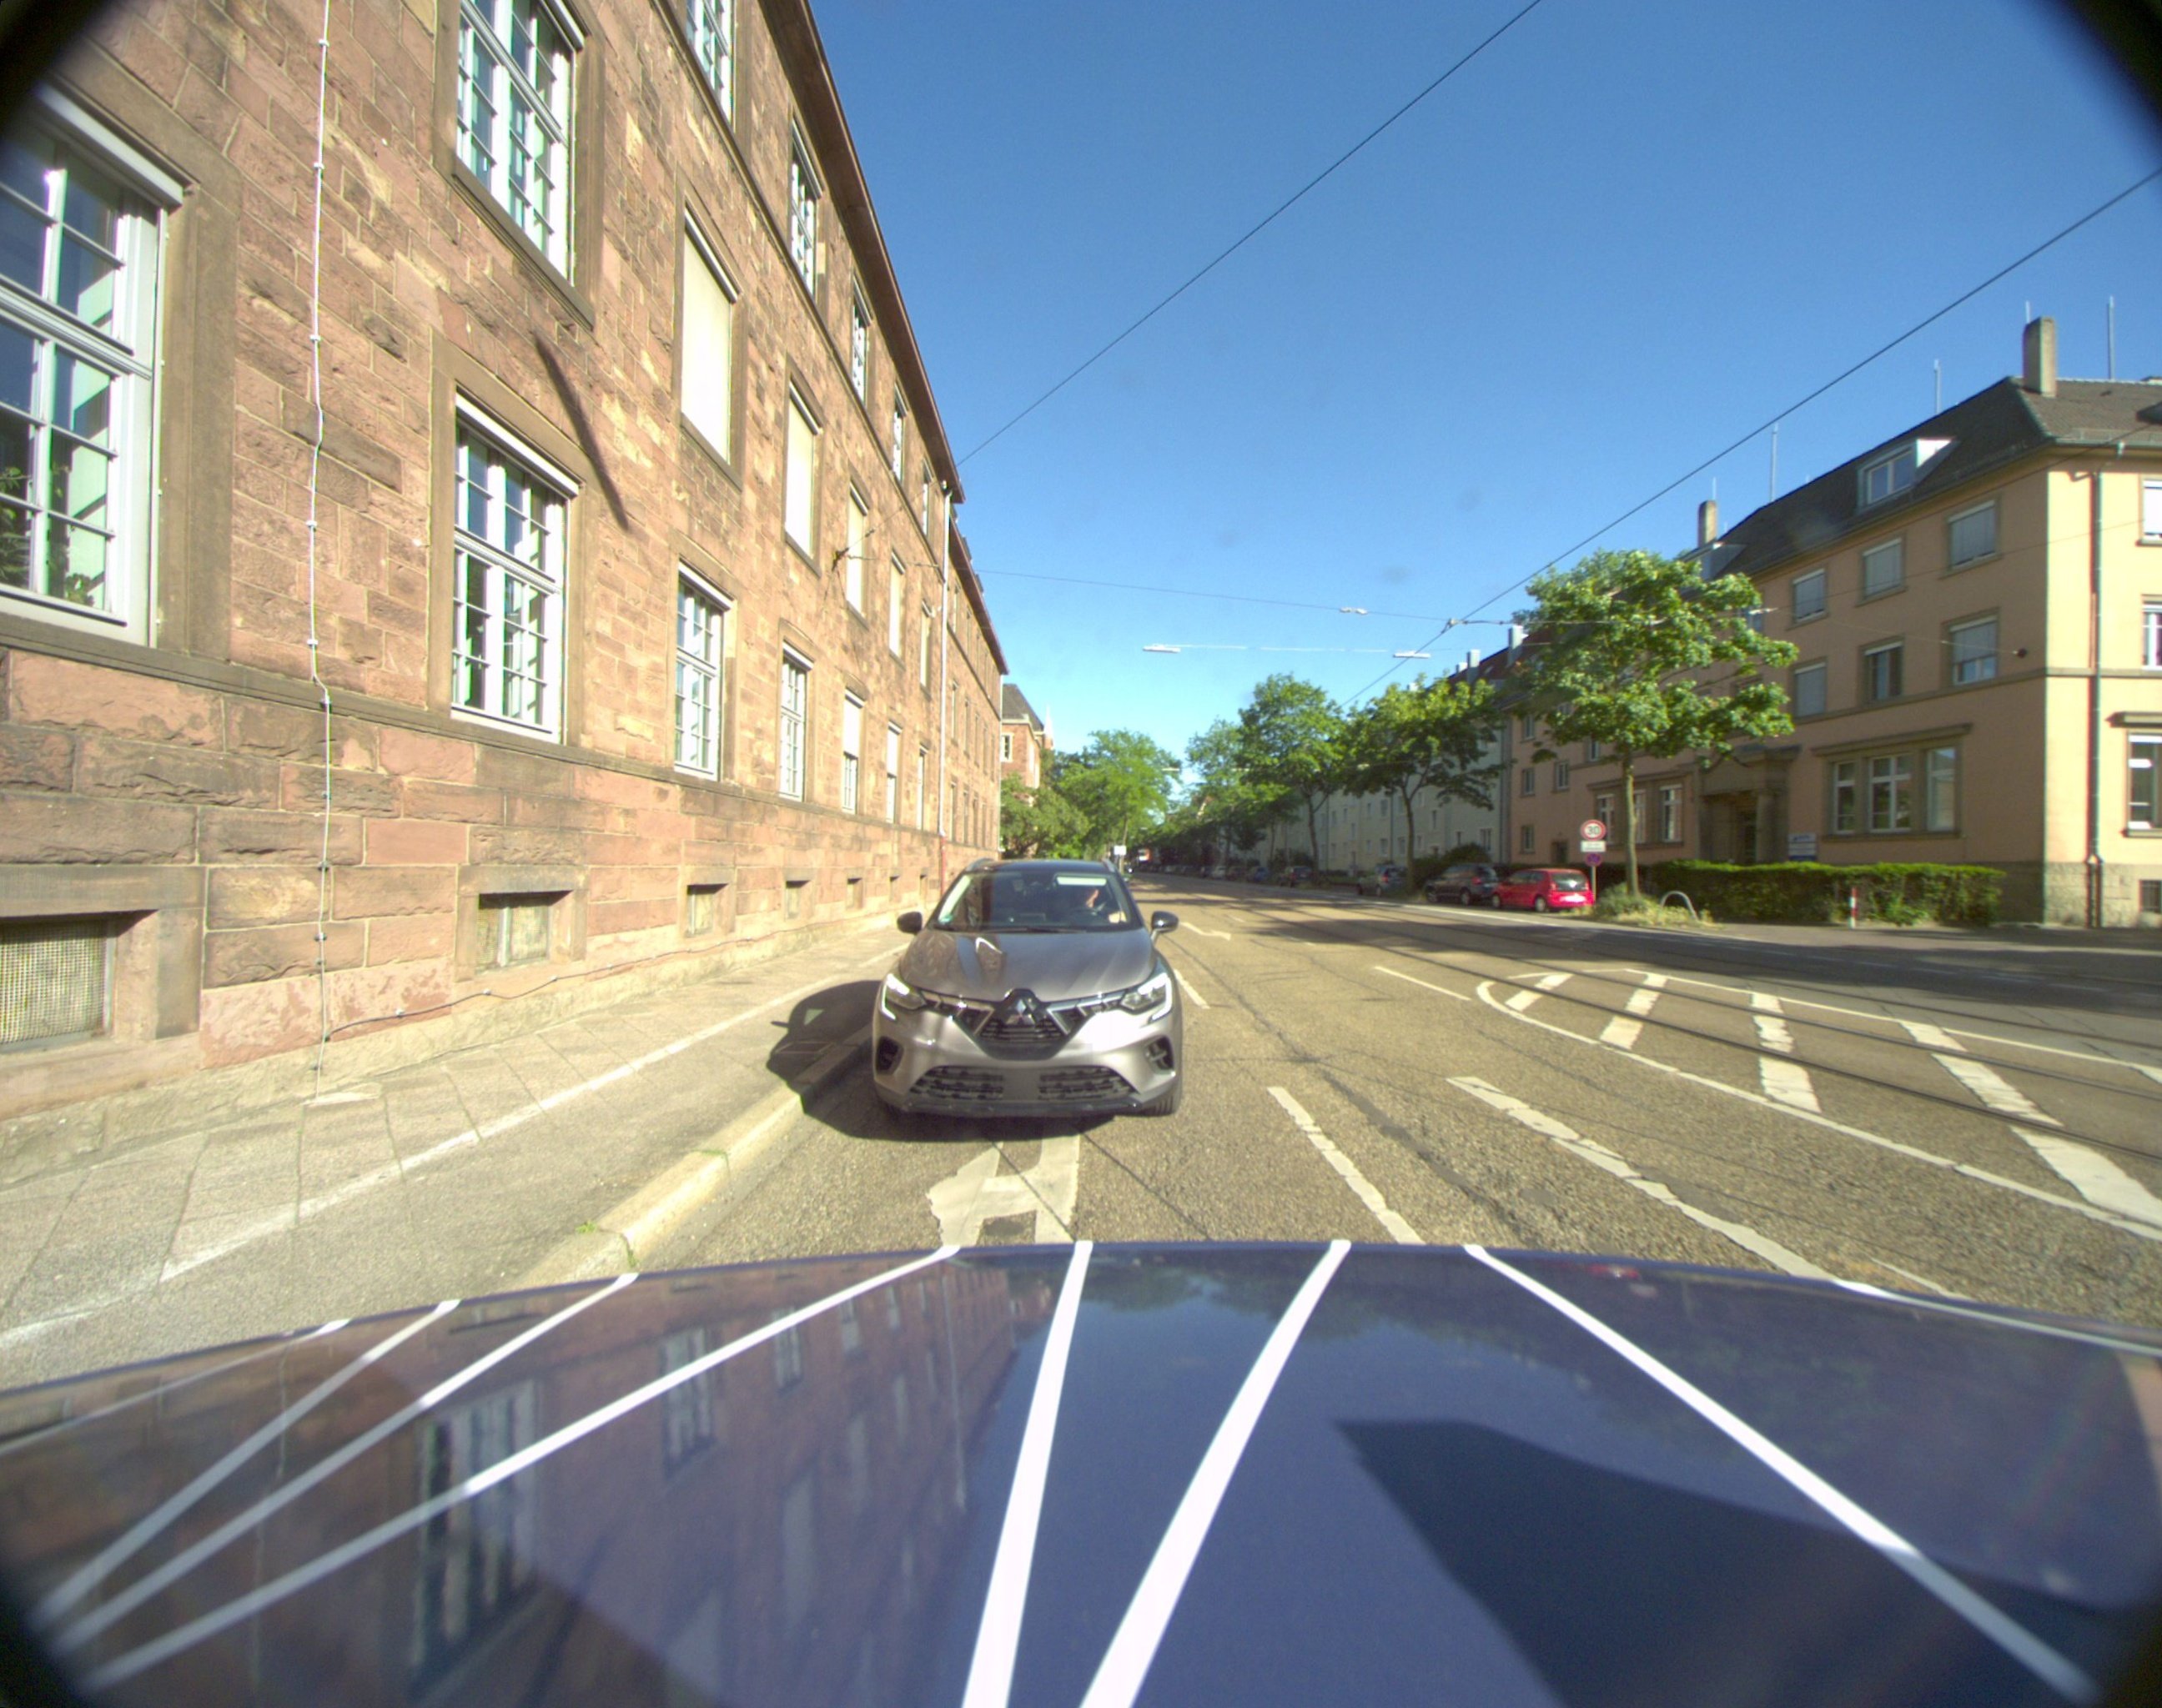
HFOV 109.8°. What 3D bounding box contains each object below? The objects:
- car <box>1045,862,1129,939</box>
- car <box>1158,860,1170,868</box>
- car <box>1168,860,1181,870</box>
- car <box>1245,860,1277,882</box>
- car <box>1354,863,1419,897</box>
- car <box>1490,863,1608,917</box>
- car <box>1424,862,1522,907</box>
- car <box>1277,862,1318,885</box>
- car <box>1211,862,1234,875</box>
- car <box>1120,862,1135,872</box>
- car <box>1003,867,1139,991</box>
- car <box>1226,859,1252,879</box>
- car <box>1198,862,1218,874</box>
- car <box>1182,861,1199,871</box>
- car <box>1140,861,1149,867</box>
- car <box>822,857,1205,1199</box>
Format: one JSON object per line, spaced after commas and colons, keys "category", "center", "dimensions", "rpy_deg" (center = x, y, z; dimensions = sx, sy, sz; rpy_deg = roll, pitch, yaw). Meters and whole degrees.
{"category": "car", "center": [0.072, 1.018, 18.492], "dimensions": [1.796, 1.638, 4.083], "rpy_deg": [-1, 0, -2]}
{"category": "car", "center": [15.971, 1.854, 146.878], "dimensions": [1.816, 1.514, 3.630], "rpy_deg": [1, 0, -2]}
{"category": "car", "center": [16.583, 1.944, 135.241], "dimensions": [1.816, 1.768, 3.630], "rpy_deg": [1, 0, -2]}
{"category": "car", "center": [15.969, 1.475, 67.496], "dimensions": [1.816, 1.814, 3.795], "rpy_deg": [1, 0, -2]}
{"category": "car", "center": [15.730, 1.303, 39.359], "dimensions": [1.816, 1.648, 3.877], "rpy_deg": [1, 0, 1]}
{"category": "car", "center": [15.853, 1.168, 25.941], "dimensions": [1.816, 1.696, 3.374], "rpy_deg": [1, 0, -3]}
{"category": "car", "center": [15.643, 1.172, 30.549], "dimensions": [1.816, 1.648, 3.819], "rpy_deg": [1, 0, -3]}
{"category": "car", "center": [15.788, 1.430, 55.603], "dimensions": [1.816, 1.589, 3.630], "rpy_deg": [1, 0, -2]}
{"category": "car", "center": [16.026, 1.670, 85.932], "dimensions": [1.816, 1.411, 3.630], "rpy_deg": [1, 0, -2]}
{"category": "car", "center": [7.255, 1.986, 118.355], "dimensions": [1.912, 1.510, 4.000], "rpy_deg": [1, 0, -1]}
{"category": "car", "center": [-0.180, 1.036, 12.045], "dimensions": [1.796, 1.595, 3.799], "rpy_deg": [-1, 0, -2]}
{"category": "car", "center": [15.898, 1.532, 76.574], "dimensions": [1.816, 1.929, 3.630], "rpy_deg": [1, 0, -2]}
{"category": "car", "center": [15.841, 1.759, 94.859], "dimensions": [1.816, 1.411, 3.630], "rpy_deg": [1, 0, -2]}
{"category": "car", "center": [16.037, 1.745, 111.656], "dimensions": [1.816, 1.411, 3.630], "rpy_deg": [1, 0, -2]}
{"category": "car", "center": [16.059, 2.486, 191.304], "dimensions": [1.816, 1.411, 3.630], "rpy_deg": [1, 0, -2]}
{"category": "car", "center": [-0.363, 0.832, 5.499], "dimensions": [1.796, 1.595, 3.799], "rpy_deg": [-1, 0, -2]}
